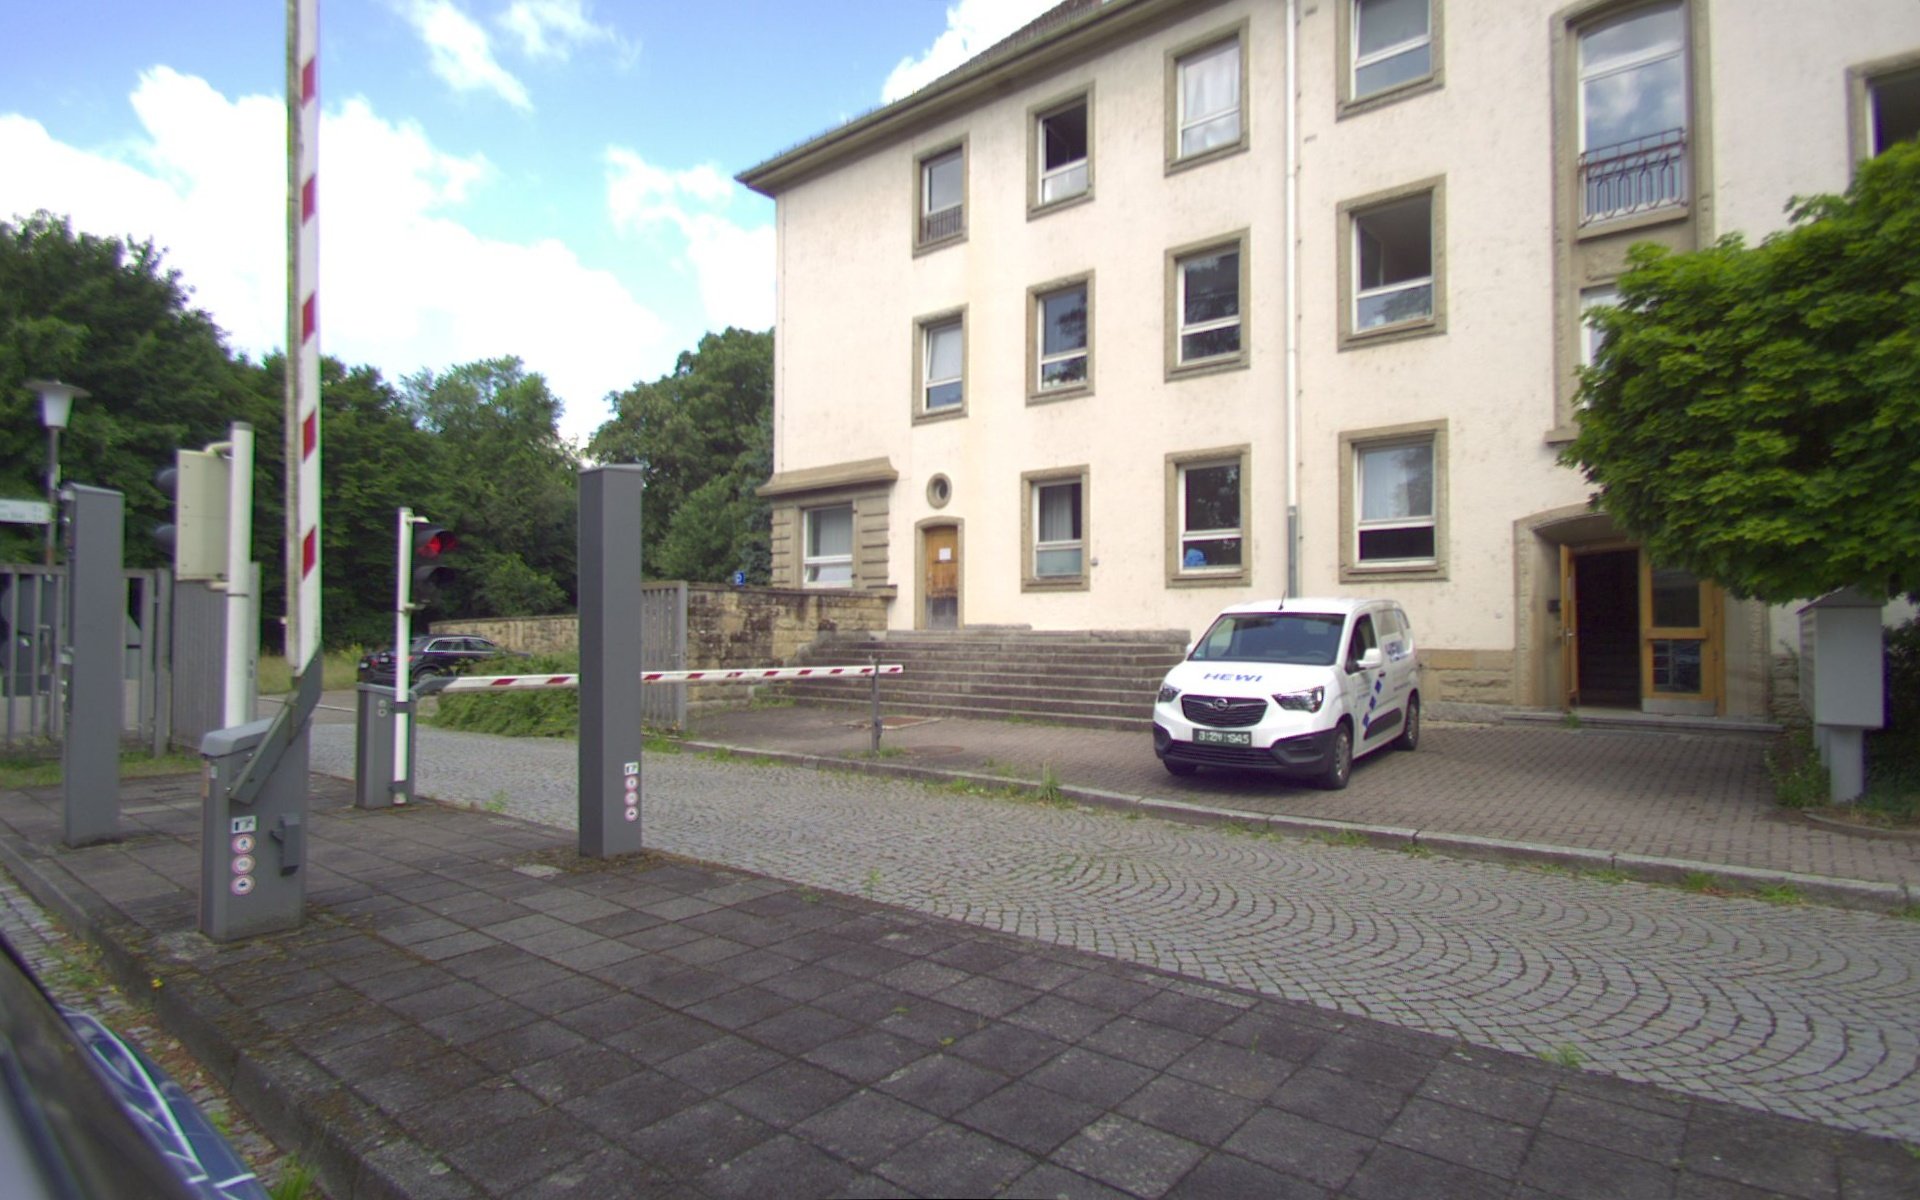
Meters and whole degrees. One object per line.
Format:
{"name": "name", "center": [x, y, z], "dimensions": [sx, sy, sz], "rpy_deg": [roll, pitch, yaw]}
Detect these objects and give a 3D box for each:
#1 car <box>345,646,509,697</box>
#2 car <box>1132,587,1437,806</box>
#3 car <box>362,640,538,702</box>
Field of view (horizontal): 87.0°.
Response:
{"name": "car", "center": [-15.677, 2.058, 29.886], "dimensions": [3.941, 1.356, 1.803], "rpy_deg": [1, -3, -45]}
{"name": "car", "center": [3.661, 0.810, 10.865], "dimensions": [1.817, 1.819, 4.261], "rpy_deg": [-1, 0, 37]}
{"name": "car", "center": [-13.888, 1.885, 27.704], "dimensions": [3.941, 1.529, 1.803], "rpy_deg": [1, -3, -45]}
